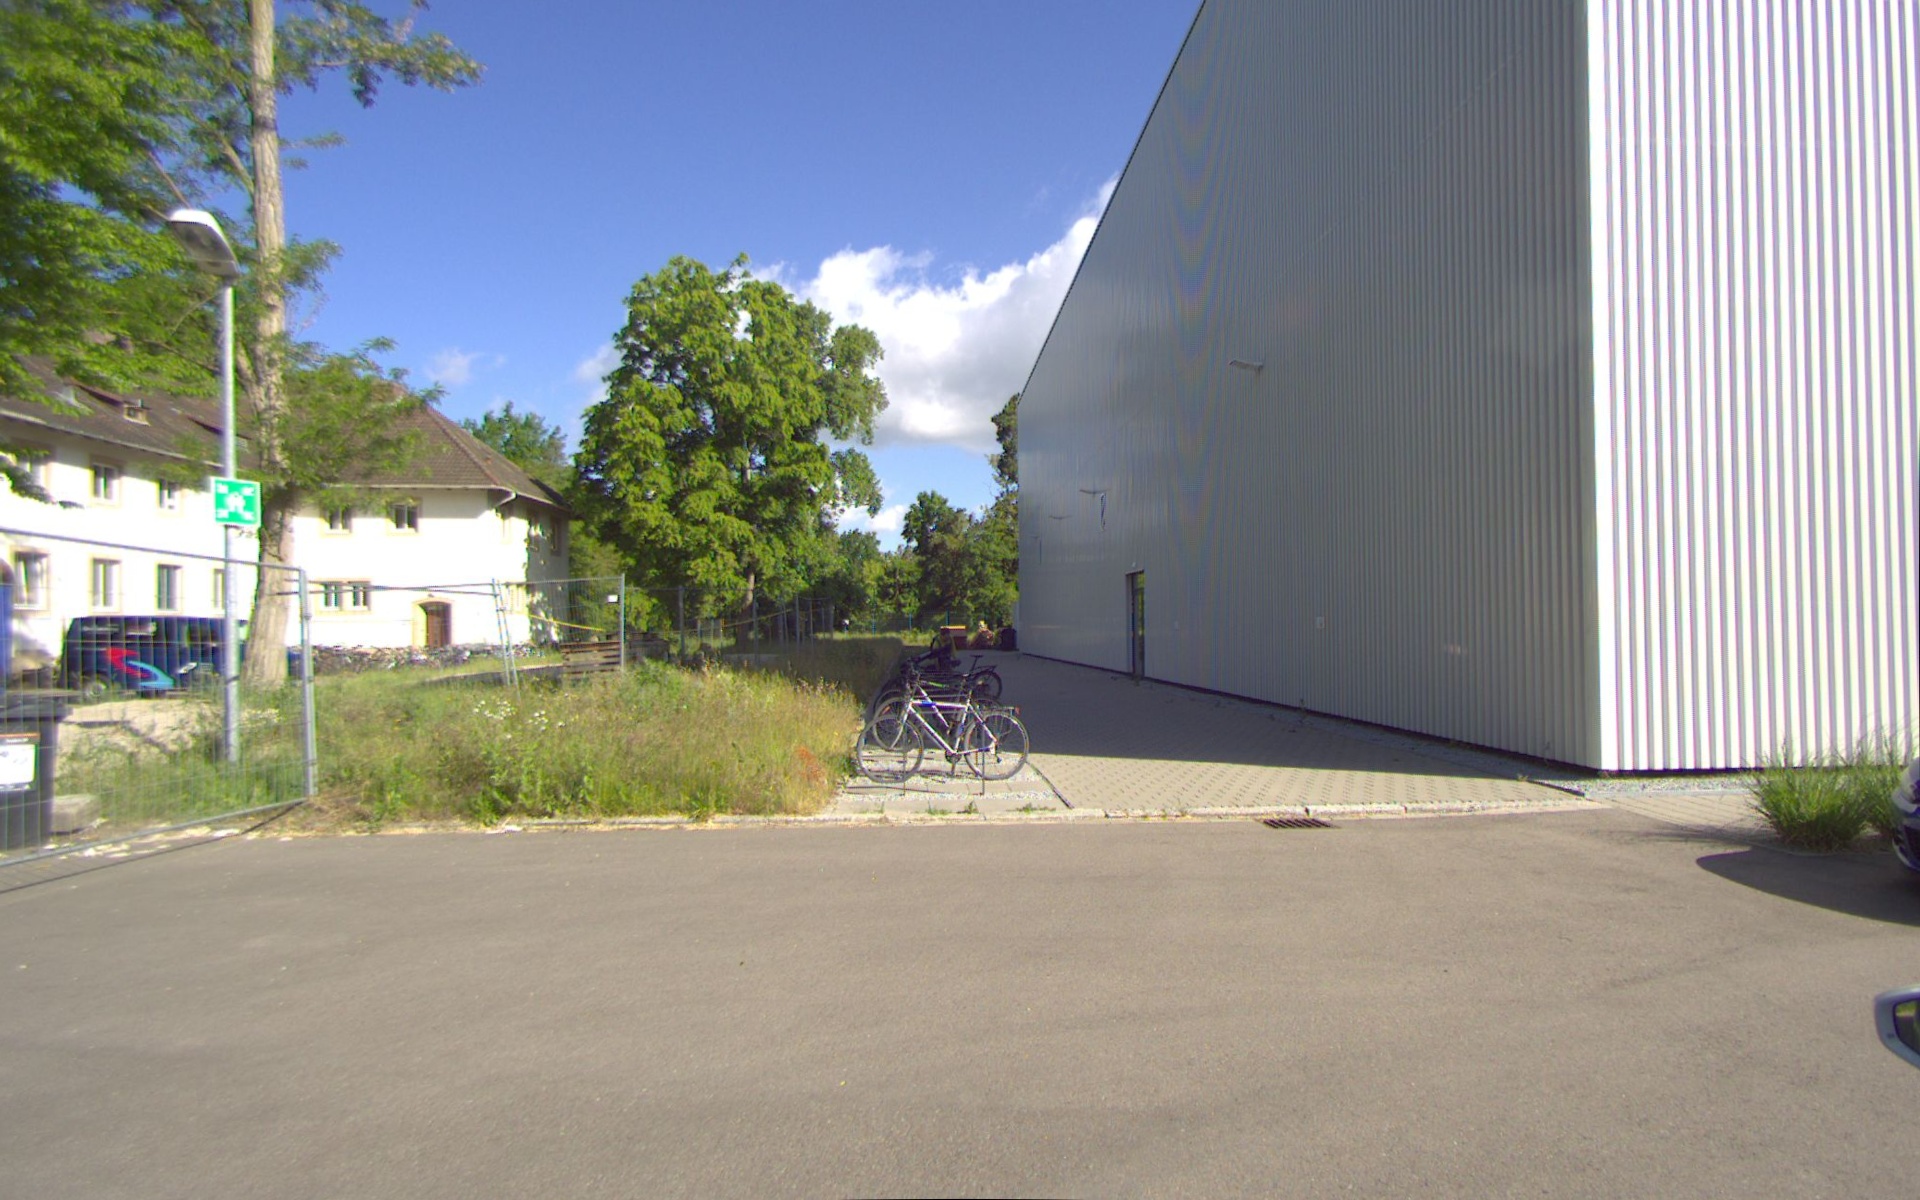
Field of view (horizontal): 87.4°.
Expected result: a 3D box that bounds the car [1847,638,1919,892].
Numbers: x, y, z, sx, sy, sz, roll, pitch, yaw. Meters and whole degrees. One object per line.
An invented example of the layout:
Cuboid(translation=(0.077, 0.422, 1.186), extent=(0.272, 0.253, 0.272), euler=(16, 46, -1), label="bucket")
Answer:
Cuboid(translation=(7.195, 0.891, 5.203), extent=(3.878, 1.368, 1.673), euler=(0, 0, -4), label="car")

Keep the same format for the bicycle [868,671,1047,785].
Cuboid(translation=(-0.040, 1.284, 10.231), extent=(1.772, 1.076, 0.459), euler=(0, -1, -8), label="bicycle")

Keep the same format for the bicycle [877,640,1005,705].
Cuboid(translation=(-0.366, 1.487, 20.975), extent=(2.586, 1.283, 1.141), euler=(-1, -1, 1), label="bicycle")

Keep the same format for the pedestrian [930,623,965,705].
Cuboid(translation=(-0.276, 1.378, 21.887), extent=(0.503, 1.751, 0.634), euler=(-1, -2, 31), label="pedestrian")

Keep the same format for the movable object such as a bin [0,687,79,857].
Cuboid(translation=(-6.831, 1.187, 6.952), extent=(0.724, 1.112, 0.819), euler=(-1, -1, 1), label="movable object such as a bin")

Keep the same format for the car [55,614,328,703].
Cuboid(translation=(-17.745, 1.323, 23.426), extent=(4.637, 1.927, 1.998), euler=(0, -2, -7), label="car")

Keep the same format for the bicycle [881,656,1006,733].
Cuboid(translation=(-0.265, 1.435, 15.338), extent=(1.858, 1.109, 0.526), euler=(-1, -2, -4), label="bicycle")

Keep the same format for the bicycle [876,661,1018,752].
Cuboid(translation=(-0.165, 1.341, 12.790), extent=(1.762, 1.097, 0.525), euler=(-1, -1, -1), label="bicycle")

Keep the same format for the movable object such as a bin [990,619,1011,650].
Cuboid(translation=(2.689, 2.319, 67.220), extent=(1.395, 2.040, 1.125), euler=(-1, -1, 1), label="movable object such as a bin")
